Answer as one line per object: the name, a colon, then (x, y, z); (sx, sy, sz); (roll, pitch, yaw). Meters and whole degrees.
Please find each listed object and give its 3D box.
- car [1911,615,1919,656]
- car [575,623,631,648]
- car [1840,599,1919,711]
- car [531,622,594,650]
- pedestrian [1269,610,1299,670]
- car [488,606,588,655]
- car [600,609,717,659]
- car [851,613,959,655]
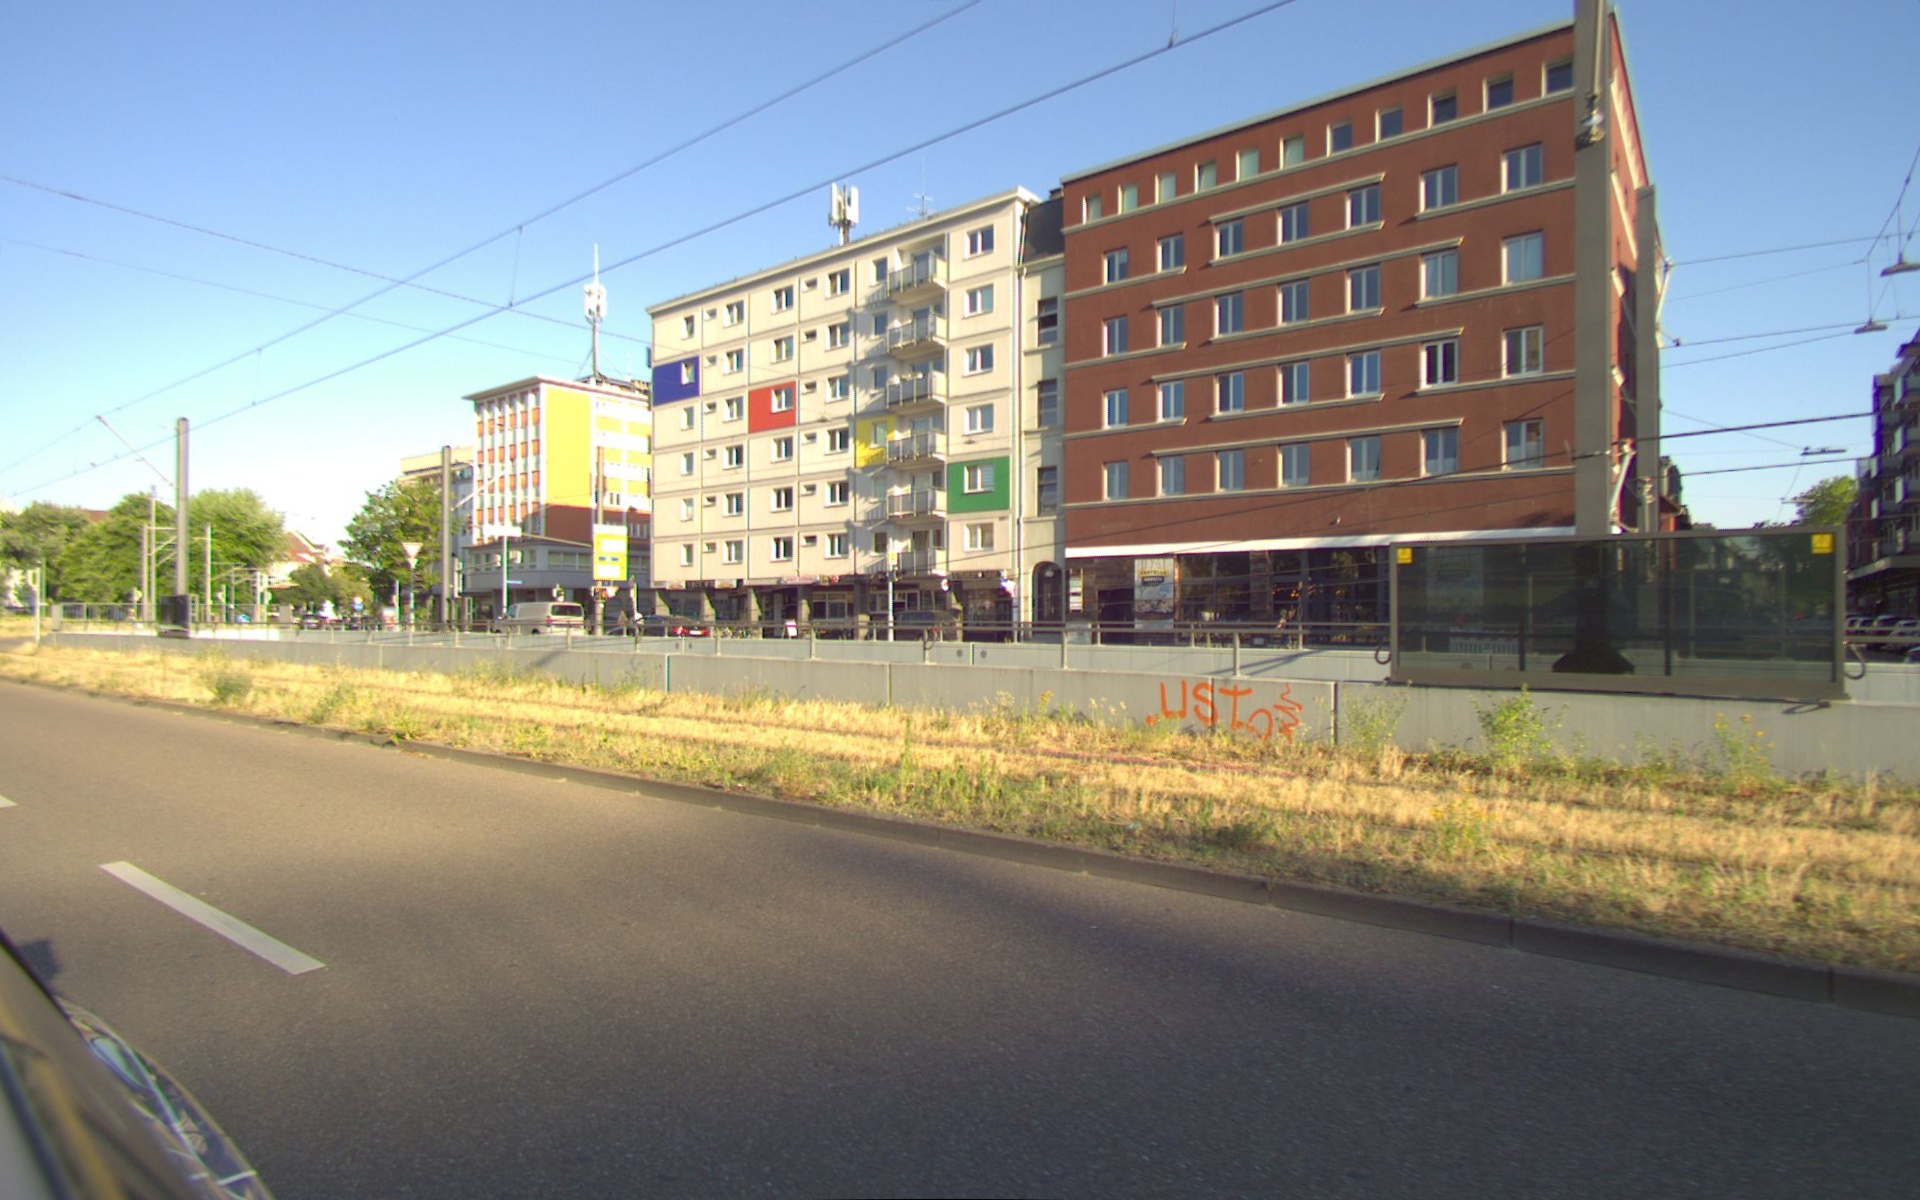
car: (37.124, 1.337, 38.137); (1.548, 1.559, 3.948); (-1, -2, 39)
car: (-28.637, 2.798, 81.252); (1.740, 1.794, 3.949); (0, 1, 38)
car: (17.518, 0.891, 16.282); (4.975, 1.833, 1.973); (-1, -2, 40)
car: (-19.395, 1.736, 49.384); (3.180, 1.297, 1.216); (-1, -2, 32)
pedestrian: (11.244, 1.375, 35.075); (0.771, 2.029, 0.691); (-2, -2, 39)
car: (-18.640, 1.303, 44.616); (4.767, 2.029, 1.975); (-1, -1, 37)
car: (-11.673, 1.280, 38.988); (4.890, 1.811, 1.973); (-1, -1, 40)
car: (-2.498, 1.507, 45.370); (4.737, 1.811, 1.974); (-1, -1, 39)
